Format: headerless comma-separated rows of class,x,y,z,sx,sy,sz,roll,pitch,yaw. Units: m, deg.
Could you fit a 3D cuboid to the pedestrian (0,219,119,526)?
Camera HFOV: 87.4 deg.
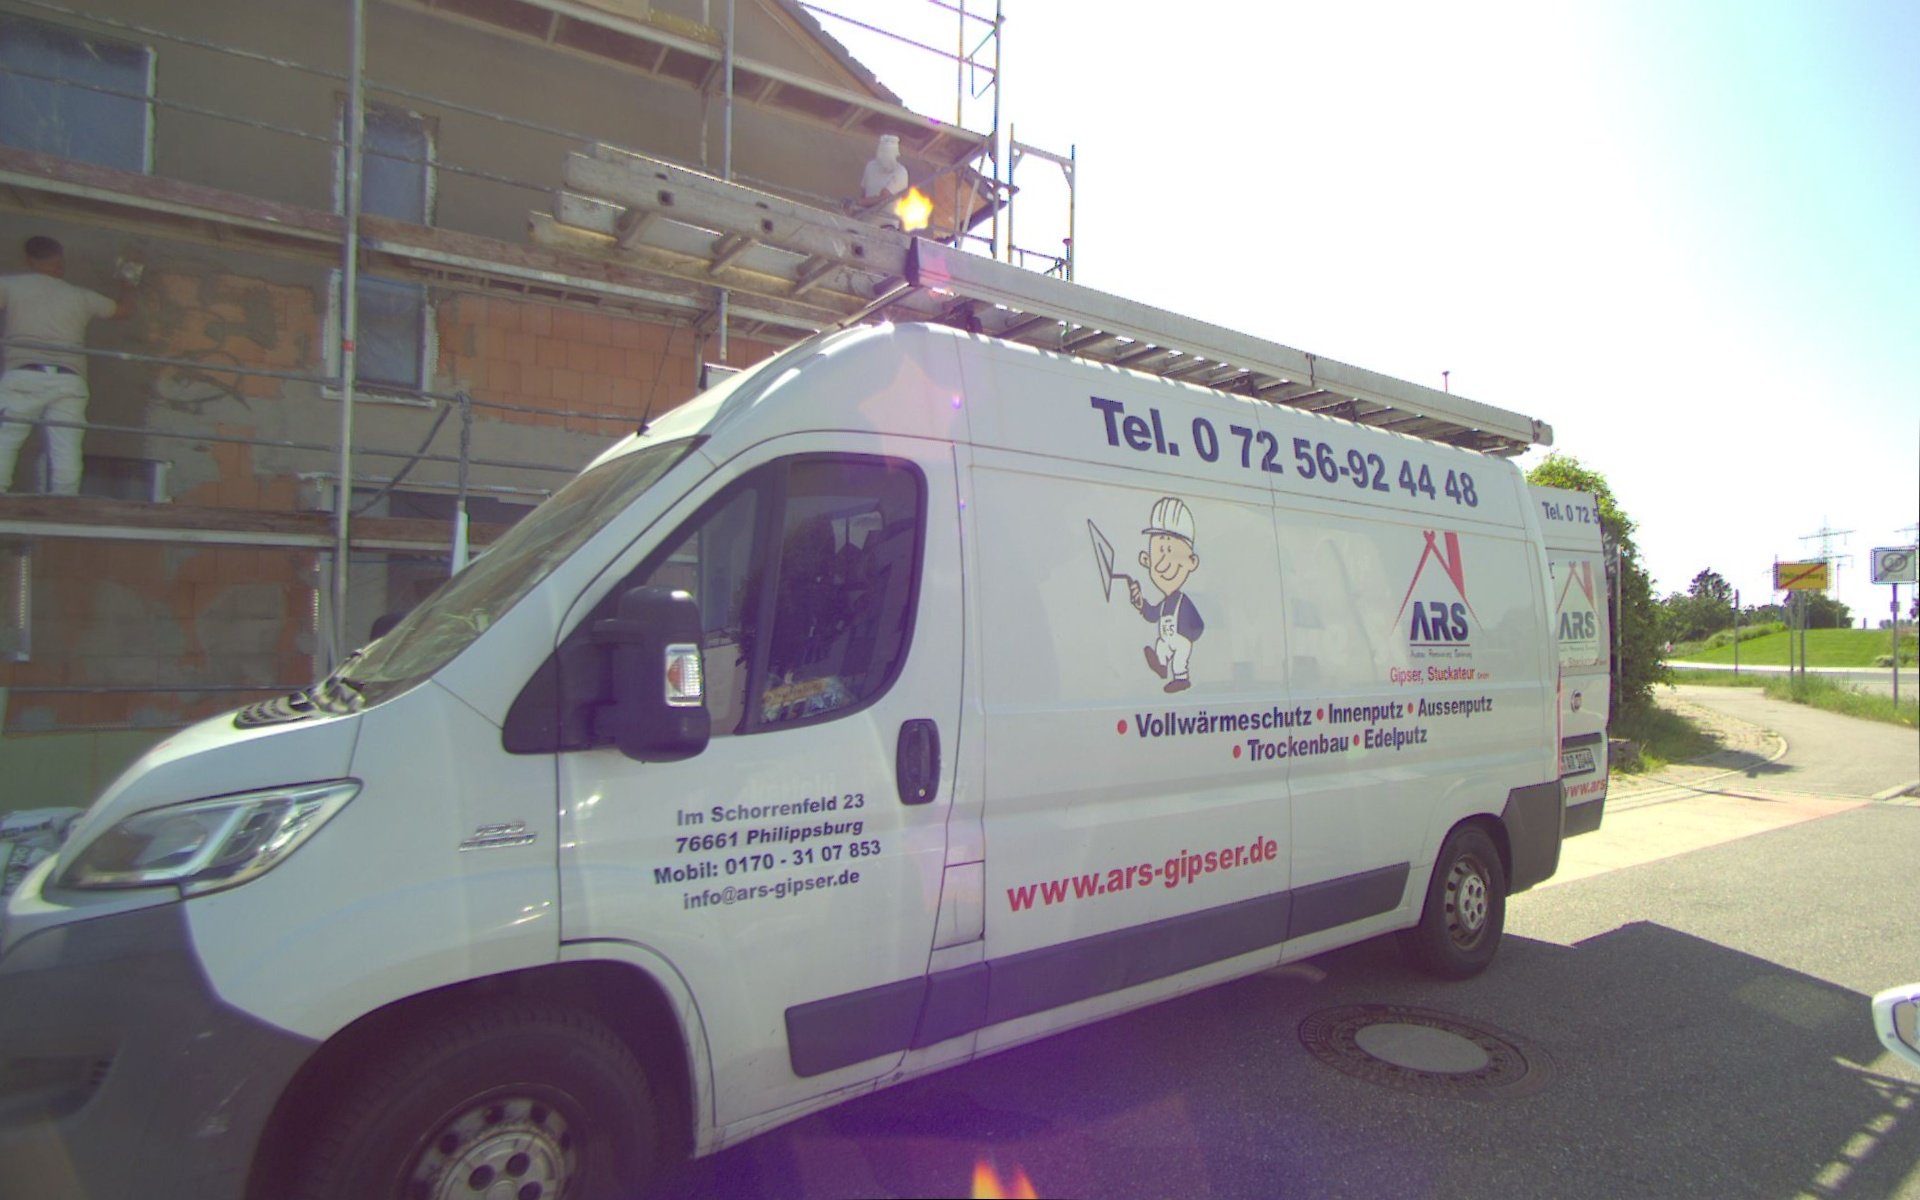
pedestrian,-5.740,-1.373,6.271,0.572,1.701,0.741,4,-4,-34

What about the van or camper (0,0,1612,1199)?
van or camper,0.114,0.273,4.132,6.307,2.586,2.257,3,-3,-37

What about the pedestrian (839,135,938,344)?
pedestrian,-0.625,-3.165,8.945,0.552,1.519,0.748,1,-3,23
